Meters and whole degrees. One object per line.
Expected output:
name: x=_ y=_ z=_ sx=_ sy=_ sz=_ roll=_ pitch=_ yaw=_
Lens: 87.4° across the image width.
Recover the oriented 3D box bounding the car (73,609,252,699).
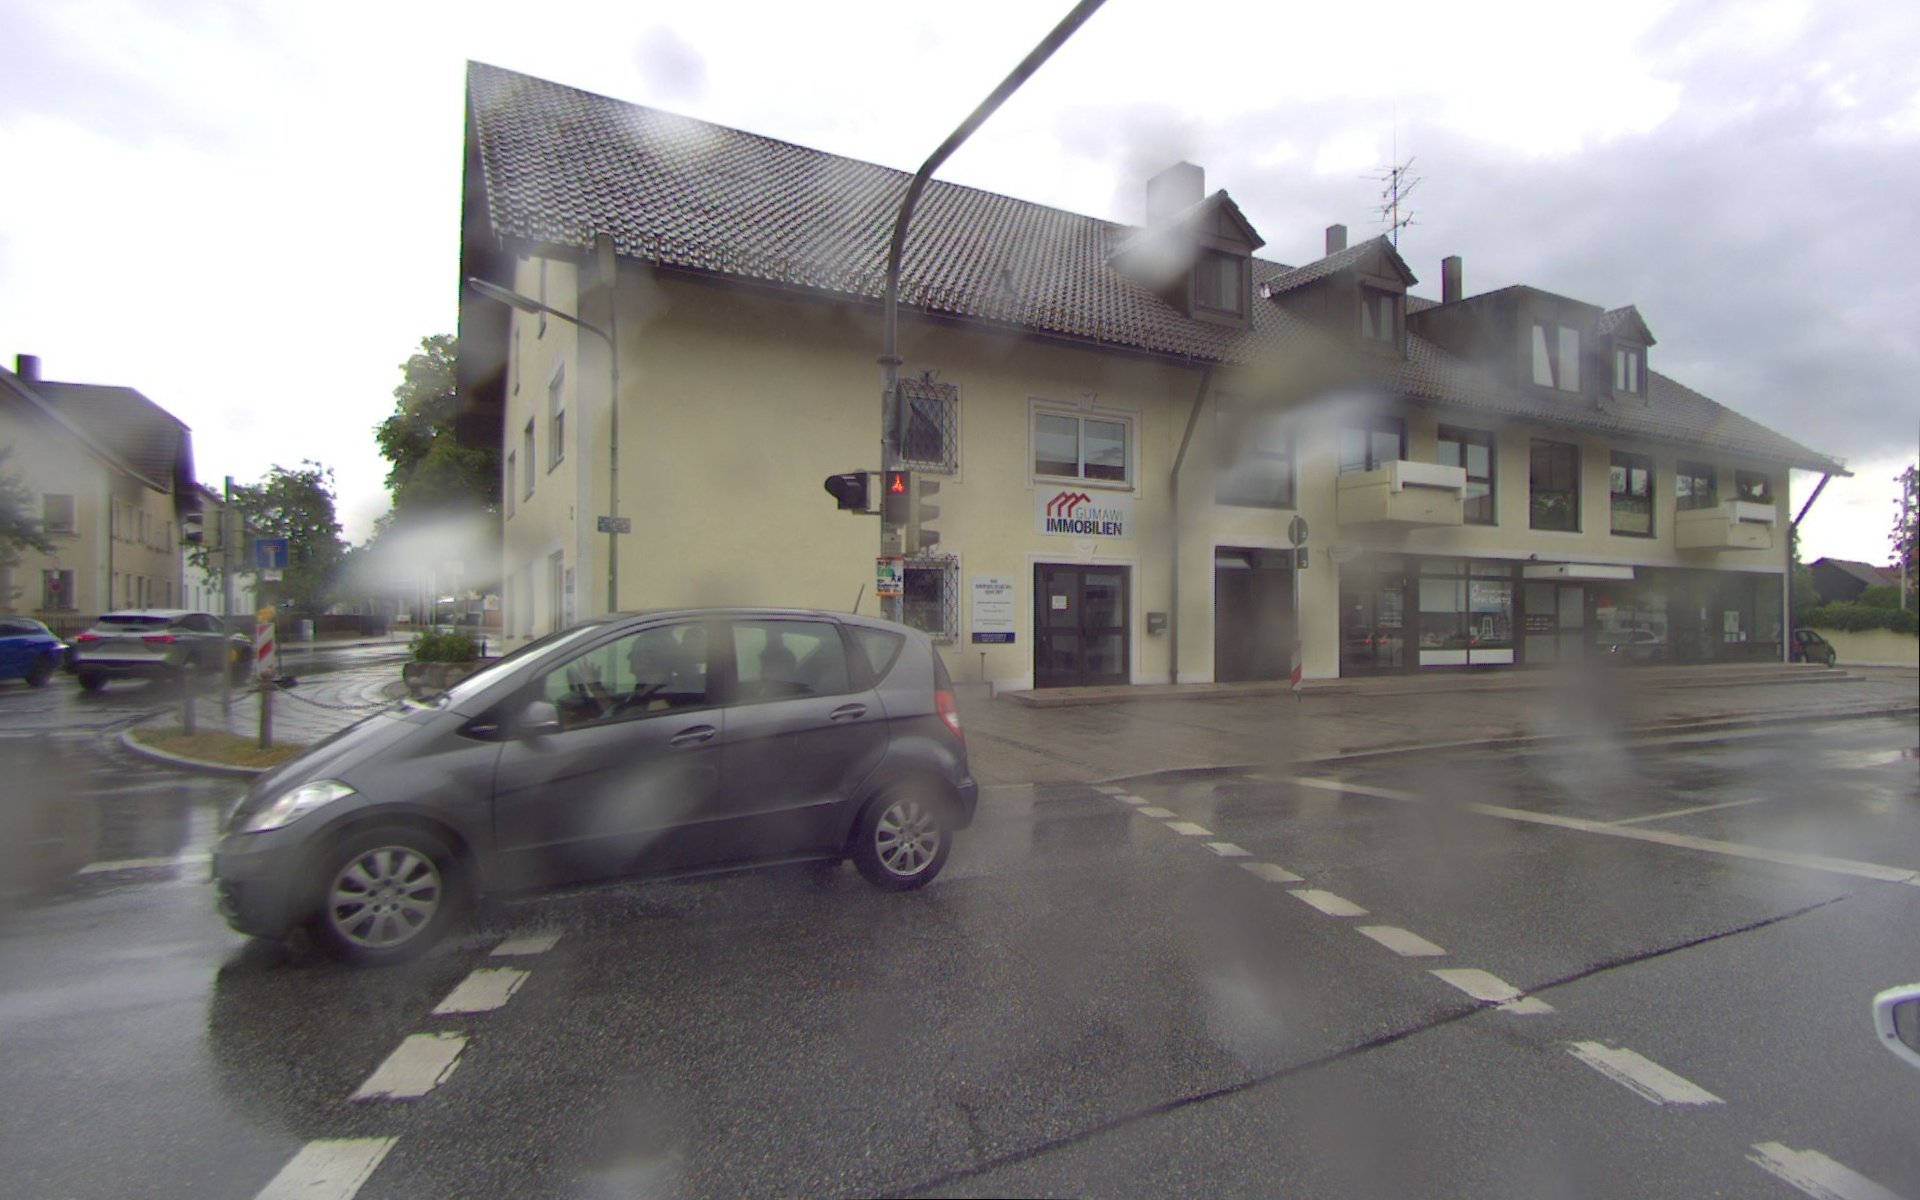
car: x=-16.778 y=1.118 z=21.405 sx=2.062 sy=1.695 sz=4.358 roll=2 pitch=-3 yaw=-27

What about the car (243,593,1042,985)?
car: x=-1.644 y=0.810 z=5.804 sx=3.853 sy=1.553 sz=1.907 roll=1 pitch=-2 yaw=-30

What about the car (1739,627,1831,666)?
car: x=31.217 y=1.749 z=38.001 sx=3.467 sy=1.398 sz=1.600 roll=1 pitch=-2 yaw=-30

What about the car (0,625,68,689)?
car: x=-19.179 y=1.090 z=19.000 sx=1.661 sy=1.201 sz=4.346 roll=1 pitch=-1 yaw=-16
